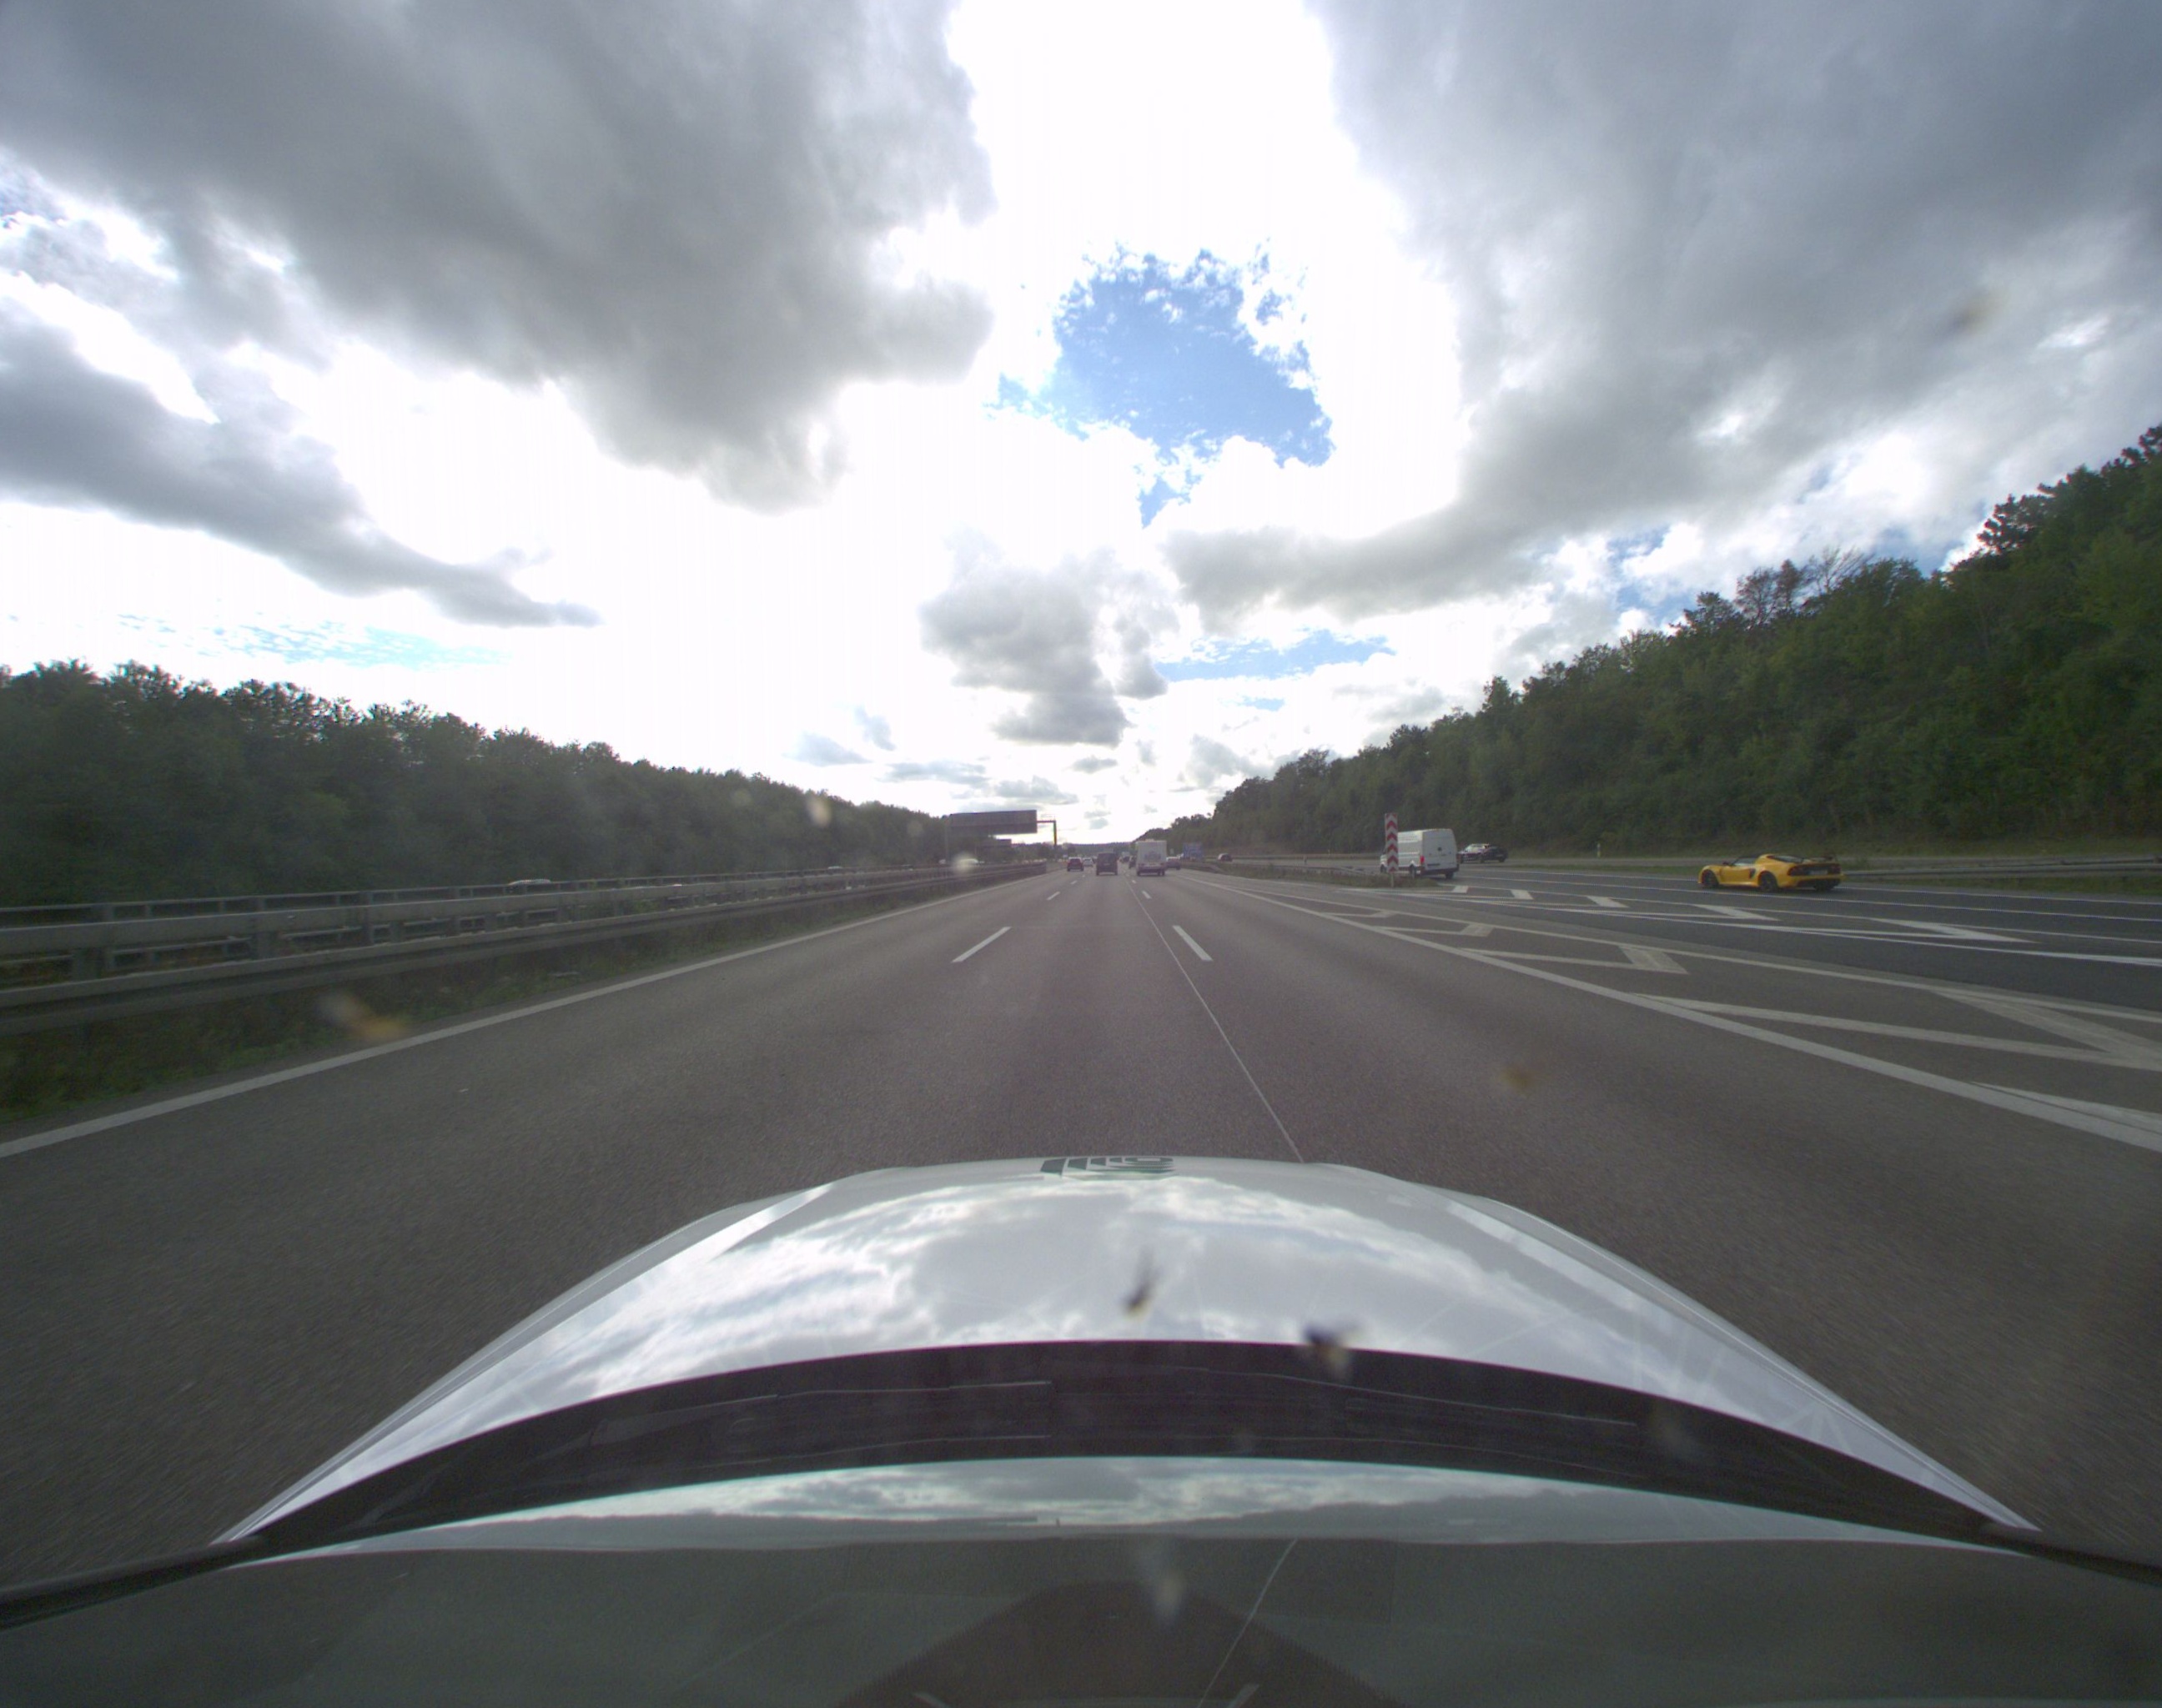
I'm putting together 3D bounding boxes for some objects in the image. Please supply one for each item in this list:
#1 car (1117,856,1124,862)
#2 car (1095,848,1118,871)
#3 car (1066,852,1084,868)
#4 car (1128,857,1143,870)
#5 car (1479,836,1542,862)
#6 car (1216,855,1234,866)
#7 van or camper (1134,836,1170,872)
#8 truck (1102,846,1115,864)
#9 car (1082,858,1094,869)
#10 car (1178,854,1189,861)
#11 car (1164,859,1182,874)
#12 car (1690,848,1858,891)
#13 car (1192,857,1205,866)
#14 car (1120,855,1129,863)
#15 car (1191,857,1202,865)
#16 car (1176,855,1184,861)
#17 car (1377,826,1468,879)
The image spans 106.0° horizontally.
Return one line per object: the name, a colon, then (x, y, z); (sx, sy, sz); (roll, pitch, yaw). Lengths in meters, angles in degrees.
car: (11.673, 1.560, 241.339); (1.745, 1.695, 4.191); (-1, -1, 1)
car: (2.223, 0.469, 71.190); (1.848, 1.910, 4.261); (-1, 0, 1)
car: (-0.677, 0.663, 93.384); (1.866, 1.698, 4.073); (-1, -1, 1)
car: (6.986, 1.202, 105.470); (1.691, 1.564, 4.114); (-2, 0, 1)
car: (29.507, -0.315, 56.138); (1.837, 1.602, 4.765); (-4, 0, 1)
car: (21.034, 0.907, 118.818); (1.836, 1.484, 4.527); (-4, 0, 2)
van or camper: (5.780, 0.033, 66.977); (2.459, 2.722, 7.664); (-1, 0, 2)
truck: (6.802, 0.258, 200.742); (3.250, 4.375, 11.030); (-1, 0, 2)
car: (1.118, 1.454, 127.183); (1.691, 1.611, 4.114); (-2, 0, 1)
car: (23.722, 0.697, 188.484); (1.837, 1.484, 4.525); (-4, 0, 0)
car: (10.391, 1.352, 92.417); (1.691, 1.611, 3.896); (-2, 0, 1)
car: (21.202, 0.433, 25.179); (1.705, 1.182, 4.170); (-1, 0, 1)
car: (22.096, 1.346, 153.027); (1.837, 1.484, 4.525); (-4, 0, 0)
car: (9.897, 1.116, 183.947); (1.906, 1.919, 4.031); (-1, 0, 1)
car: (21.648, 1.261, 152.647); (1.535, 1.484, 3.943); (-4, 0, 2)
car: (29.279, 1.119, 240.086); (1.837, 1.484, 4.525); (-4, 0, 0)
car: (18.211, -0.080, 43.884); (2.062, 2.554, 6.744); (-2, 0, 1)
